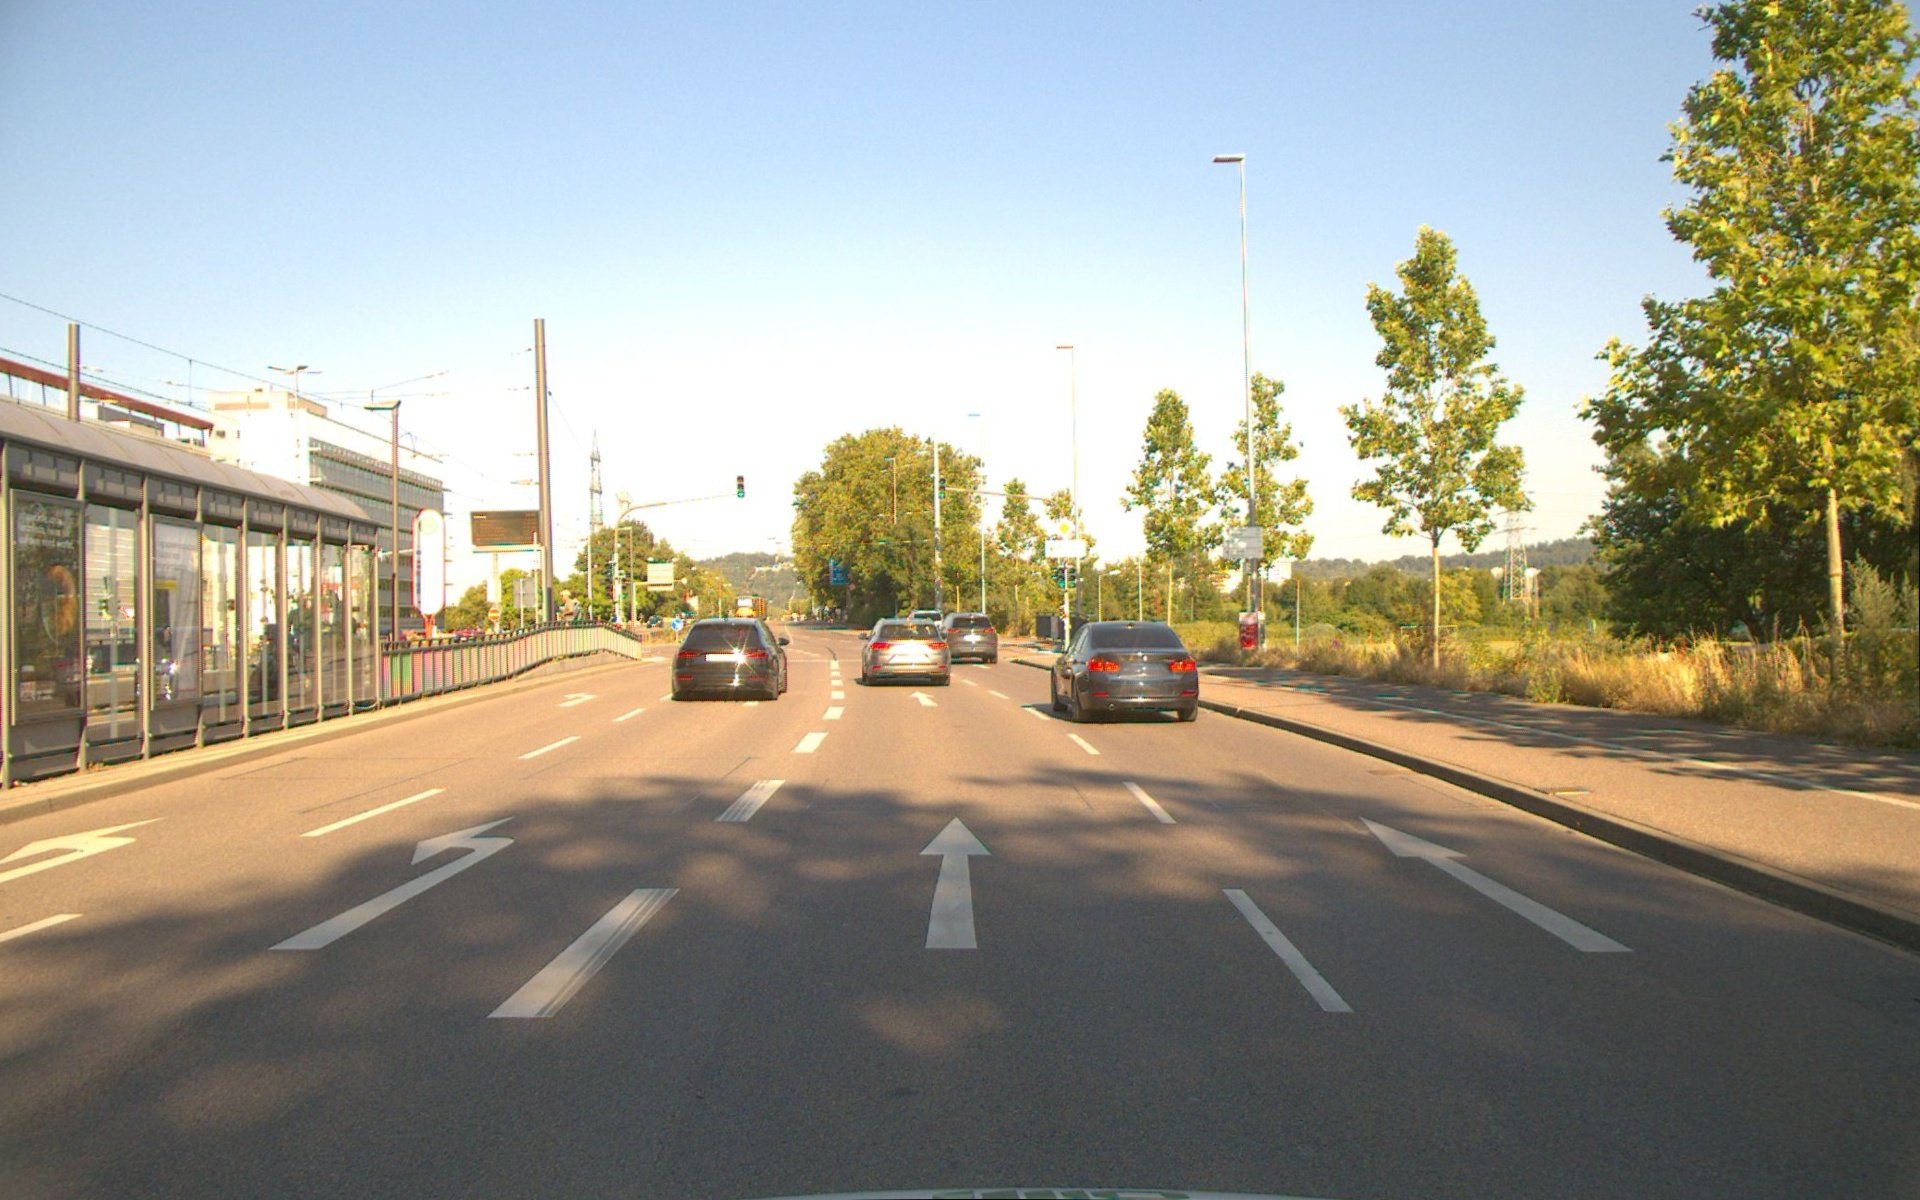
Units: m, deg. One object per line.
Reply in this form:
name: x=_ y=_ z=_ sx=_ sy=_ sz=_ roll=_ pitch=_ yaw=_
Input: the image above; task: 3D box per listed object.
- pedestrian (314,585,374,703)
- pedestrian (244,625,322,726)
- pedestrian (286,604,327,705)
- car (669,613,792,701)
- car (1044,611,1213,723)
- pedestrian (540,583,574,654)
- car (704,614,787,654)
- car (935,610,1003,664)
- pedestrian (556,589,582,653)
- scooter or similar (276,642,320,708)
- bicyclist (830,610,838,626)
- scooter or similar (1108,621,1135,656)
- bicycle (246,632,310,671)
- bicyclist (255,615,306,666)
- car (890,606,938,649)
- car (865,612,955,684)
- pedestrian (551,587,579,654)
pedestrian: x=-9.273 y=0.654 z=24.933 sx=0.680 sy=1.746 sz=0.820 roll=0 pitch=-1 yaw=-9
pedestrian: x=-8.689 y=0.958 z=21.260 sx=0.667 sy=1.253 sz=0.878 roll=1 pitch=0 yaw=-5
pedestrian: x=-10.601 y=0.873 z=26.836 sx=0.547 sy=1.624 sz=0.638 roll=0 pitch=-1 yaw=-17
car: x=-4.131 y=1.002 z=30.325 sx=1.877 sy=1.483 sz=4.088 roll=0 pitch=-1 yaw=-3
car: x=2.426 y=0.934 z=24.892 sx=1.829 sy=1.493 sz=4.583 roll=-1 pitch=0 yaw=-3
pedestrian: x=-10.374 y=0.486 z=42.563 sx=0.692 sy=1.806 sz=0.535 roll=1 pitch=-1 yaw=0
car: x=-9.298 y=1.490 z=71.558 sx=1.758 sy=1.485 sz=3.528 roll=-3 pitch=-1 yaw=-44
car: x=0.266 y=1.187 z=54.611 sx=1.809 sy=1.690 sz=4.434 roll=0 pitch=0 yaw=-6
pedestrian: x=-10.439 y=0.559 z=44.200 sx=0.523 sy=1.686 sz=0.750 roll=1 pitch=-1 yaw=-3
scooter or similar: x=-10.397 y=1.167 z=25.982 sx=0.560 sy=1.004 sz=0.813 roll=0 pitch=-1 yaw=-17
bicyclist: x=-12.349 y=1.728 z=162.199 sx=0.672 sy=1.535 sz=0.889 roll=-1 pitch=0 yaw=-6
scooter or similar: x=5.908 y=1.417 z=60.563 sx=0.515 sy=1.252 sz=1.260 roll=-1 pitch=-1 yaw=-18
bicycle: x=-22.505 y=1.700 z=54.660 sx=0.697 sy=1.239 sz=2.281 roll=-3 pitch=-2 yaw=15
bicyclist: x=-22.495 y=1.332 z=54.761 sx=0.802 sy=1.645 sz=1.487 roll=-3 pitch=-2 yaw=15
car: x=-2.095 y=1.218 z=74.937 sx=1.847 sy=1.827 sz=3.995 roll=1 pitch=0 yaw=-6
car: x=-1.179 y=1.021 z=36.781 sx=1.829 sy=1.493 sz=4.662 roll=0 pitch=0 yaw=-4
pedestrian: x=-10.332 y=0.528 z=43.264 sx=0.523 sy=1.723 sz=0.760 roll=1 pitch=-1 yaw=-3
